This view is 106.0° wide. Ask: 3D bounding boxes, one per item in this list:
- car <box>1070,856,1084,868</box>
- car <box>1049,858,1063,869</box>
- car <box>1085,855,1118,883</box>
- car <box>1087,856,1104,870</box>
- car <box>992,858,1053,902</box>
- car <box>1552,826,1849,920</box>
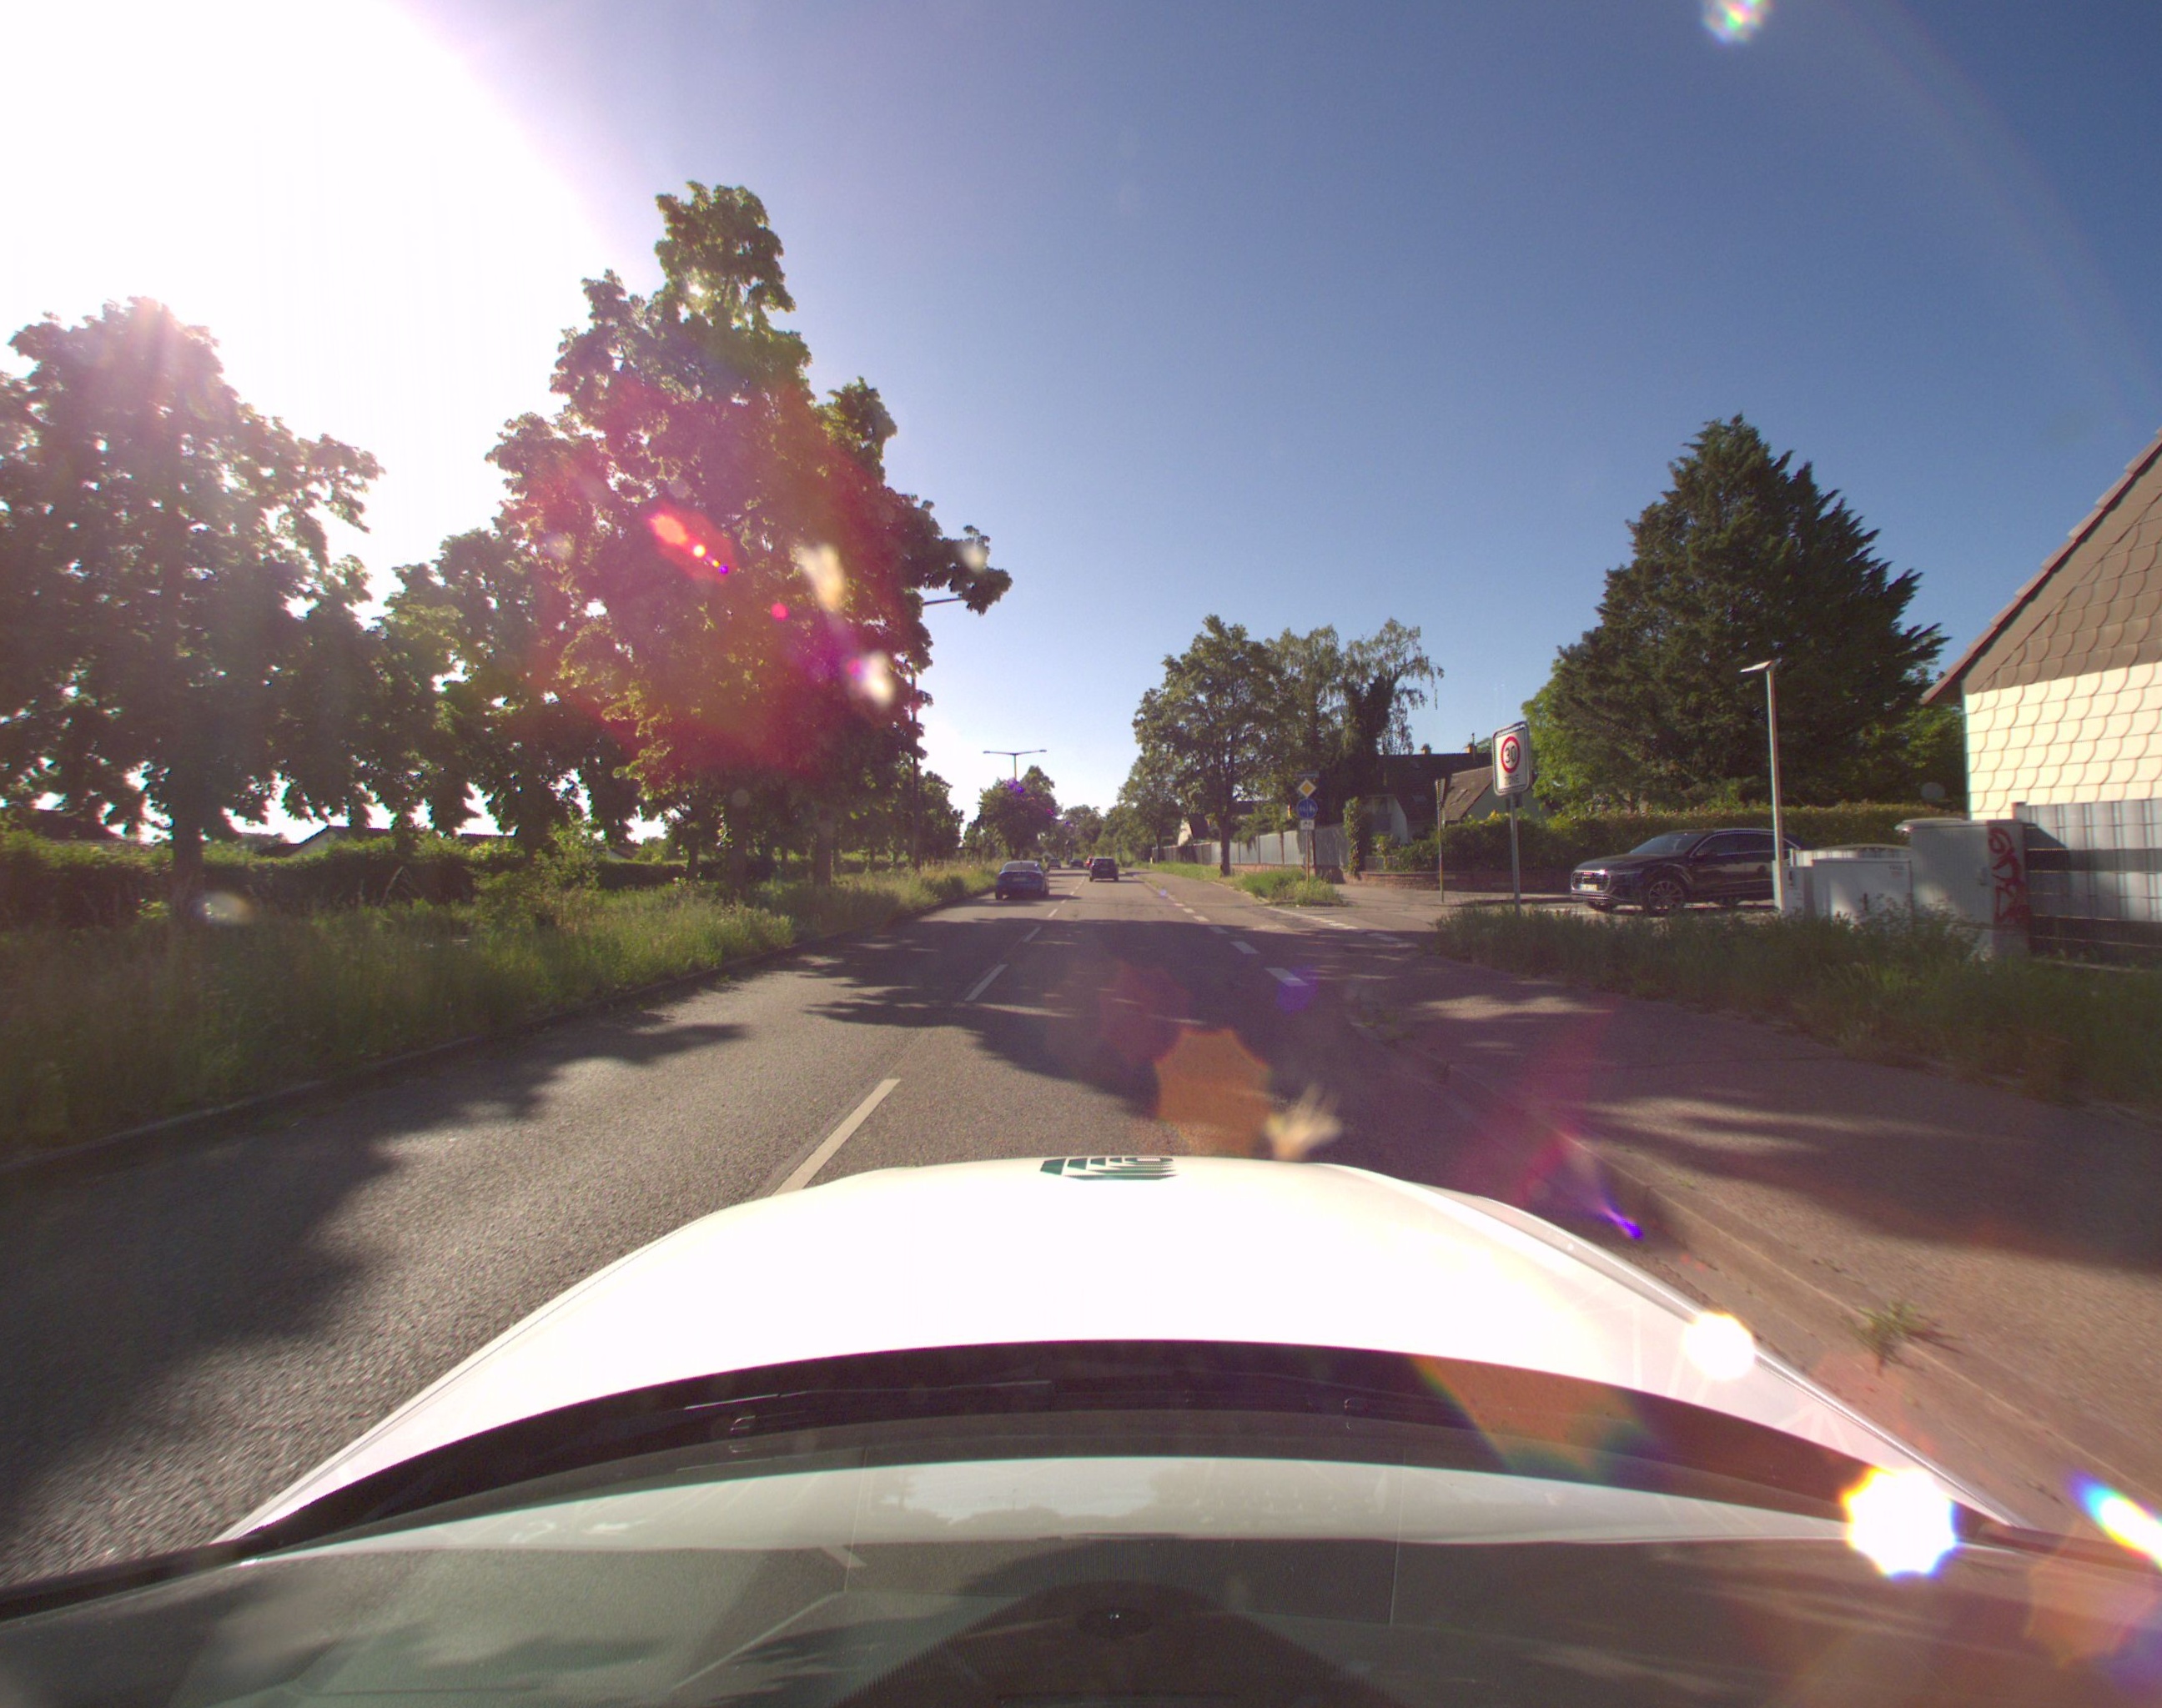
[{"bbox_3d":[-0.569,1.166,121.035,1.911,1.678,4.007,-1,-1,-3],"label":"car"},{"bbox_3d":[-3.594,1.308,117.357,1.909,1.512,4.067,-1,0,0],"label":"car"},{"bbox_3d":[1.257,0.906,50.046,1.908,1.579,4.182,-1,-1,1],"label":"car"},{"bbox_3d":[1.643,1.029,95.953,1.909,1.579,4.181,-1,-1,0],"label":"car"},{"bbox_3d":[-2.166,0.952,31.397,1.831,1.474,4.187,-2,0,2],"label":"car"},{"bbox_3d":[12.679,0.354,16.854,4.734,1.656,2.068,-2,0,-5],"label":"car"}]
